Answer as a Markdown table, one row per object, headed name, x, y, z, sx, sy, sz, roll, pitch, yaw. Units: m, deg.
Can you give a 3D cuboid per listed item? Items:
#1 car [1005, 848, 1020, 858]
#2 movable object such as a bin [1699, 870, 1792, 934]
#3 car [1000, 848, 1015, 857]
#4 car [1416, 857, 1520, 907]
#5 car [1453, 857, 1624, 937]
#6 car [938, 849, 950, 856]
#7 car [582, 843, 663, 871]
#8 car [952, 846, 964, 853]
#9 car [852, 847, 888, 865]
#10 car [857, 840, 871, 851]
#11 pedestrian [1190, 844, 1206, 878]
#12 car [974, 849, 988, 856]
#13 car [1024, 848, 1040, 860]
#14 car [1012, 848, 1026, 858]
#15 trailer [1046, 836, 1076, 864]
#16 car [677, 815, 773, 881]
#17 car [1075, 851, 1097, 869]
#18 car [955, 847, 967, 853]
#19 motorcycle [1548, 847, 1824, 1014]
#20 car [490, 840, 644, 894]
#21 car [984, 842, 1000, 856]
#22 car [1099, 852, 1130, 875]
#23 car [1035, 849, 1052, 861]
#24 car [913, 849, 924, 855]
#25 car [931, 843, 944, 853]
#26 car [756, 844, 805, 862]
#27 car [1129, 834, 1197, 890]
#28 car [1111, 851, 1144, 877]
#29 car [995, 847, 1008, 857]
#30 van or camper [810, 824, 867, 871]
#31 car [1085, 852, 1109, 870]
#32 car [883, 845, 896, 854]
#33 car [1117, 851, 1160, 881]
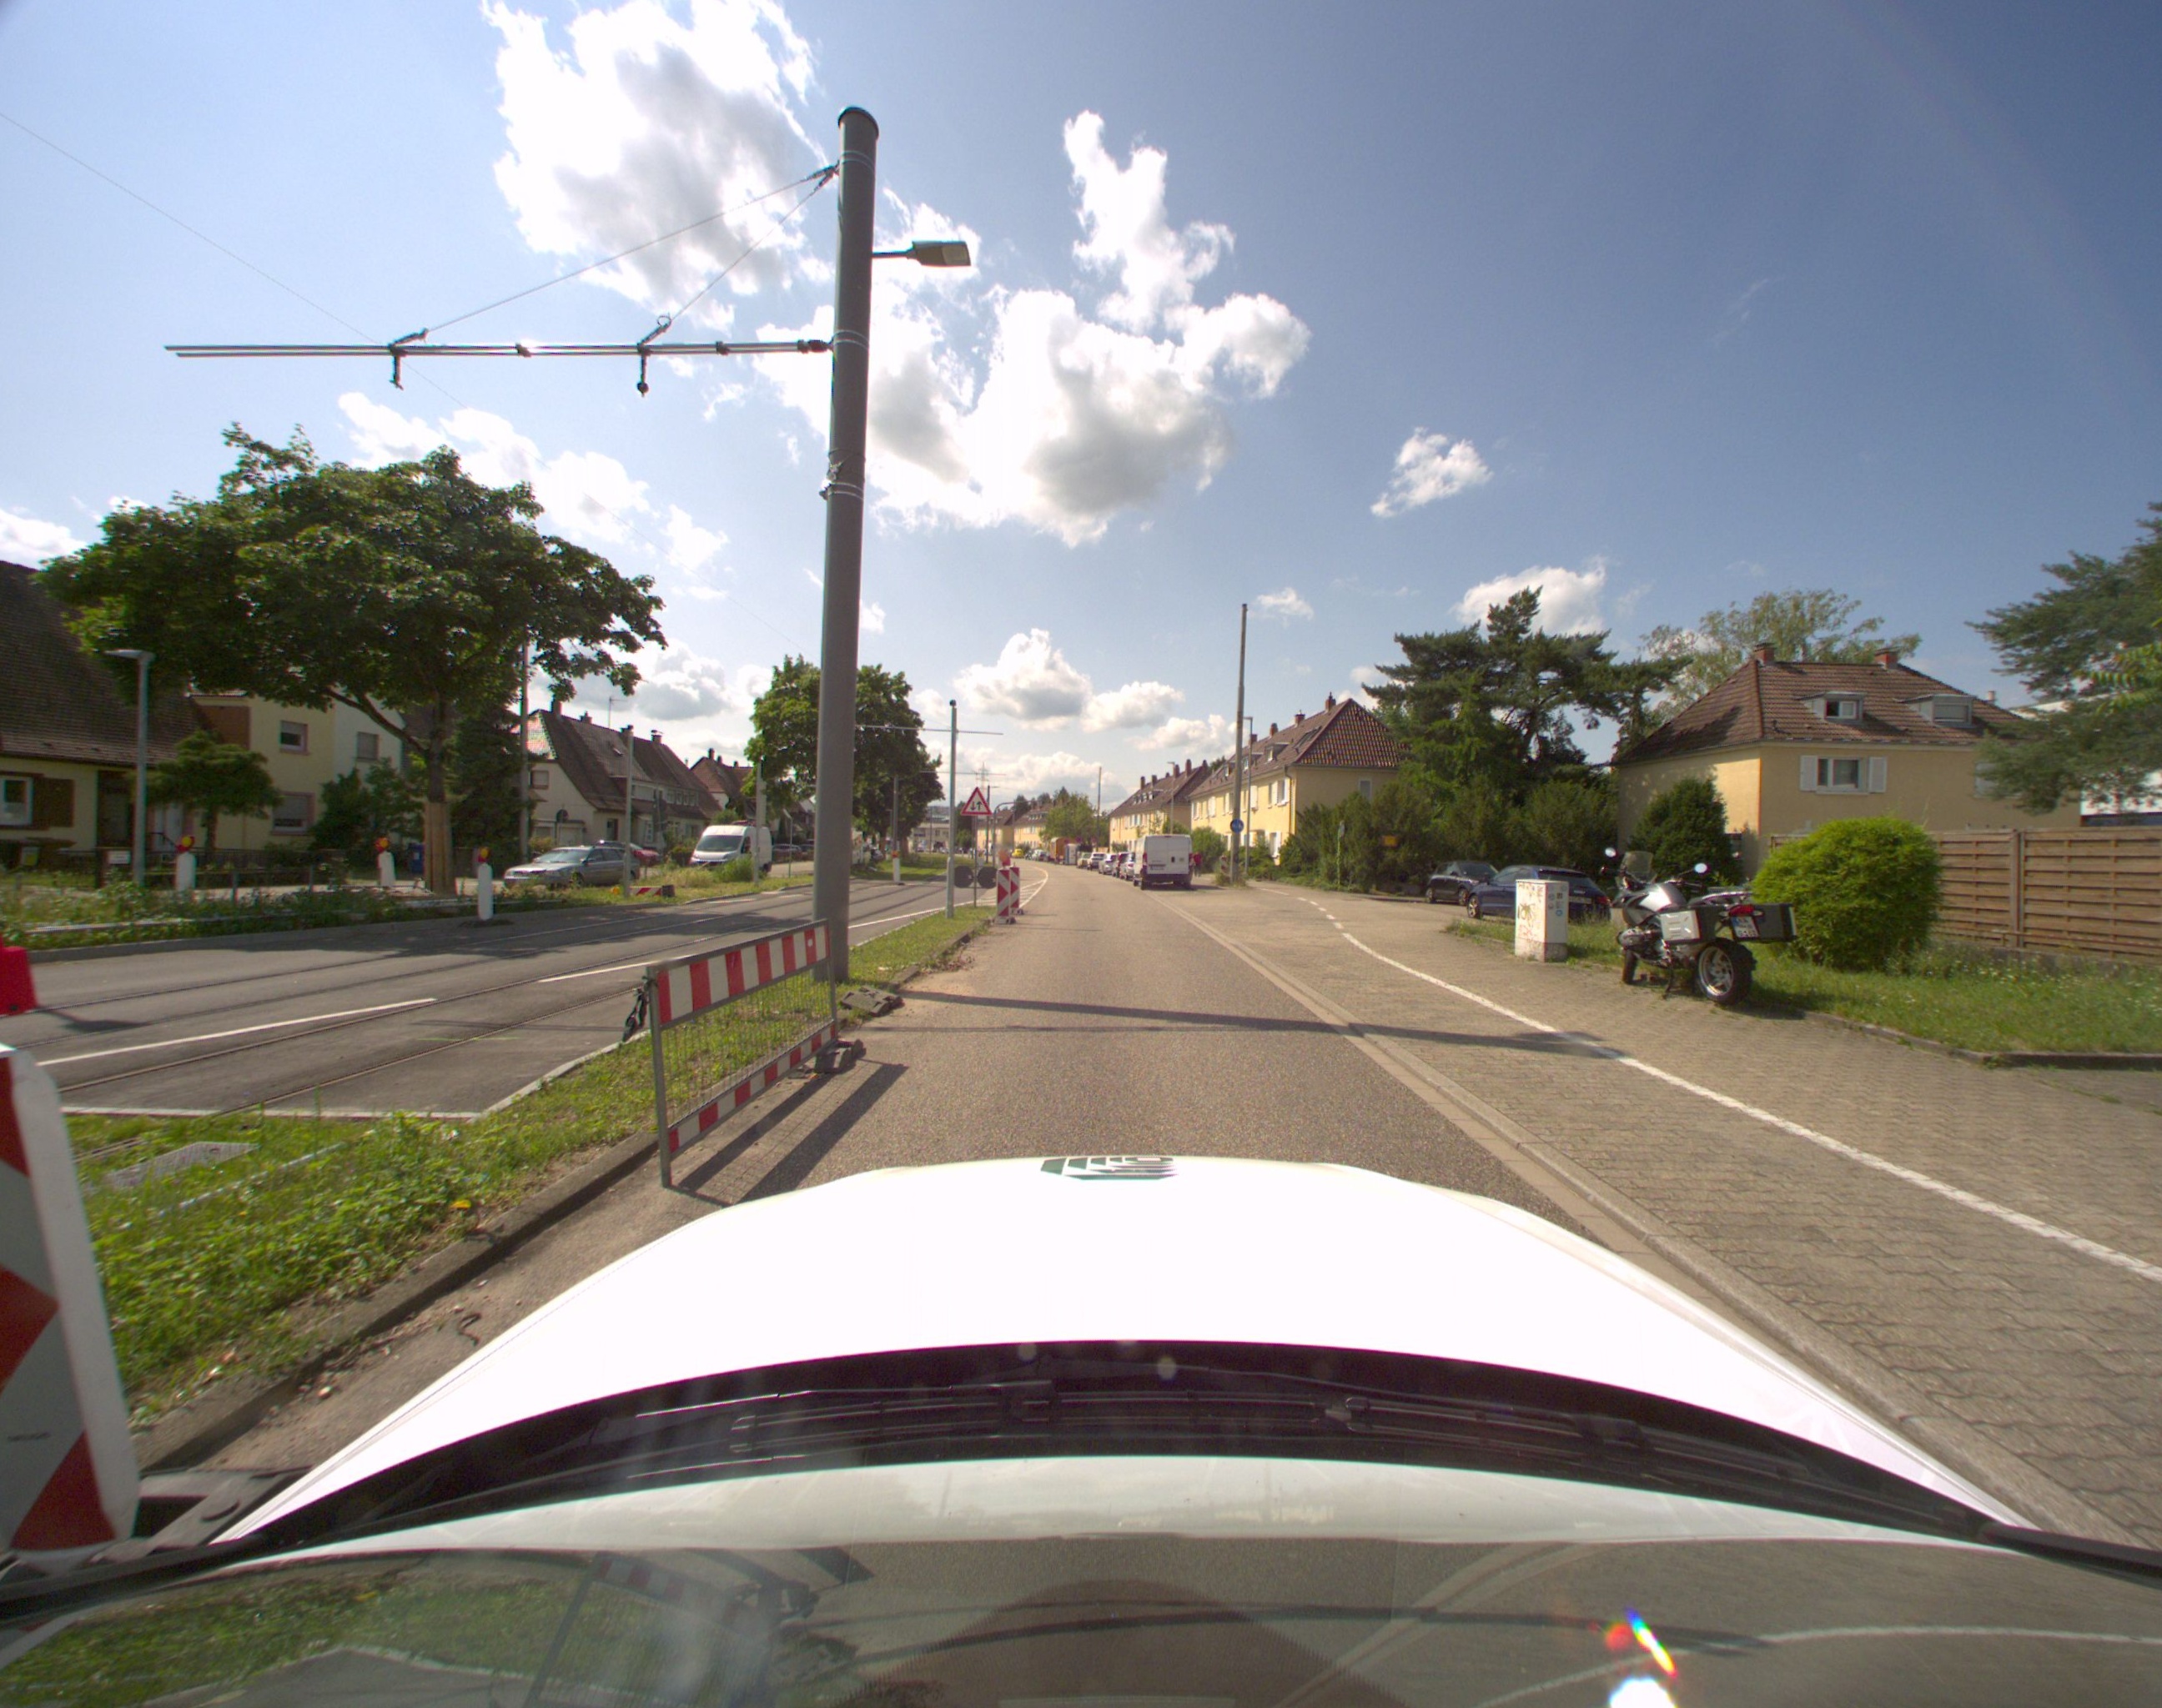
| name | x | y | z | sx | sy | sz | roll | pitch | yaw |
| --- | --- | --- | --- | --- | --- | --- | --- | --- | --- |
| car | -11.626 | -0.198 | 137.983 | 1.640 | 1.482 | 4.101 | 1 | 0 | -17 |
| movable object such as a bin | 10.788 | 0.755 | 13.269 | 0.567 | 0.936 | 1.290 | 1 | 0 | 7 |
| car | -12.960 | -0.302 | 143.335 | 1.641 | 1.602 | 3.907 | 1 | 0 | -19 |
| car | 13.191 | 0.916 | 27.991 | 1.624 | 1.547 | 3.805 | 1 | 0 | -3 |
| car | 10.133 | 0.866 | 18.459 | 1.632 | 1.380 | 4.293 | 2 | 2 | 3 |
| car | -29.112 | -0.415 | 172.810 | 1.671 | 1.449 | 3.932 | -2 | 1 | -20 |
| car | -26.032 | 0.162 | 46.321 | 3.610 | 1.522 | 1.668 | 1 | 0 | -5 |
| car | -28.205 | -1.022 | 186.940 | 1.771 | 1.643 | 3.972 | -1 | 1 | -21 |
| car | -17.823 | 0.141 | 68.883 | 1.847 | 1.387 | 4.806 | 1 | 0 | -1 |
| car | -53.249 | -2.135 | 199.499 | 2.084 | 2.721 | 6.944 | -1 | 1 | -25 |
| pedestrian | 6.971 | 0.423 | 48.479 | 0.771 | 2.013 | 0.761 | 1 | 0 | -3 |
| car | -20.766 | -0.278 | 169.225 | 1.806 | 1.458 | 4.730 | -1 | 0 | -22 |
| car | -7.249 | -0.049 | 120.968 | 1.551 | 1.641 | 4.226 | 1 | 0 | -14 |
| car | -10.188 | -0.124 | 133.023 | 1.639 | 1.482 | 3.912 | -2 | 2 | -15 |
| trailer | -2.355 | -0.474 | 95.040 | 2.691 | 3.226 | 5.064 | 1 | 0 | -10 |
| car | -15.526 | -0.239 | 35.847 | 2.148 | 2.668 | 4.911 | 1 | 0 | -3 |
| car | 0.396 | 0.513 | 73.428 | 1.462 | 1.502 | 4.099 | 0 | 0 | -7 |
| car | -26.769 | -0.862 | 182.186 | 1.771 | 1.417 | 3.972 | -1 | 1 | -21 |
| motorcycle | 6.159 | 0.679 | 8.590 | 1.043 | 1.470 | 2.587 | -1 | 0 | 2 |
| car | -15.483 | 0.356 | 24.904 | 1.687 | 1.464 | 4.753 | 1 | 0 | -1 |
| car | -17.173 | -0.977 | 156.795 | 1.934 | 2.480 | 5.484 | 0 | 1 | -18 |
| car | 2.219 | 0.595 | 55.086 | 1.745 | 1.497 | 4.381 | 0 | 0 | -3 |
| car | -5.136 | 0.119 | 110.995 | 1.707 | 1.449 | 4.816 | 1 | 0 | -11 |
| car | -39.451 | -0.398 | 197.558 | 1.731 | 1.389 | 4.092 | 1 | 0 | -22 |
| car | -36.600 | -1.652 | 207.556 | 1.967 | 2.478 | 6.015 | -1 | 1 | -22 |
| car | -27.786 | -0.084 | 75.396 | 3.988 | 1.530 | 1.867 | 2 | 0 | -11 |
| car | 3.421 | 0.310 | 35.220 | 2.269 | 2.182 | 6.366 | 1 | 0 | 0 |
| car | 2.787 | 0.577 | 49.397 | 1.624 | 1.550 | 3.806 | 0 | 0 | -3 |
| car | -14.330 | -0.390 | 146.971 | 1.640 | 1.602 | 4.006 | 1 | 0 | -17 |
| van or camper | -16.513 | -0.440 | 55.891 | 2.372 | 2.970 | 7.282 | 1 | 0 | -6 |
| car | 1.295 | 0.560 | 67.061 | 1.525 | 1.481 | 3.803 | 0 | 0 | -5 |
| car | -36.888 | -0.892 | 157.019 | 1.817 | 1.586 | 4.537 | -1 | 1 | -20 |
| car | 3.071 | 0.629 | 44.303 | 1.704 | 1.504 | 4.248 | 1 | 0 | -4 |
